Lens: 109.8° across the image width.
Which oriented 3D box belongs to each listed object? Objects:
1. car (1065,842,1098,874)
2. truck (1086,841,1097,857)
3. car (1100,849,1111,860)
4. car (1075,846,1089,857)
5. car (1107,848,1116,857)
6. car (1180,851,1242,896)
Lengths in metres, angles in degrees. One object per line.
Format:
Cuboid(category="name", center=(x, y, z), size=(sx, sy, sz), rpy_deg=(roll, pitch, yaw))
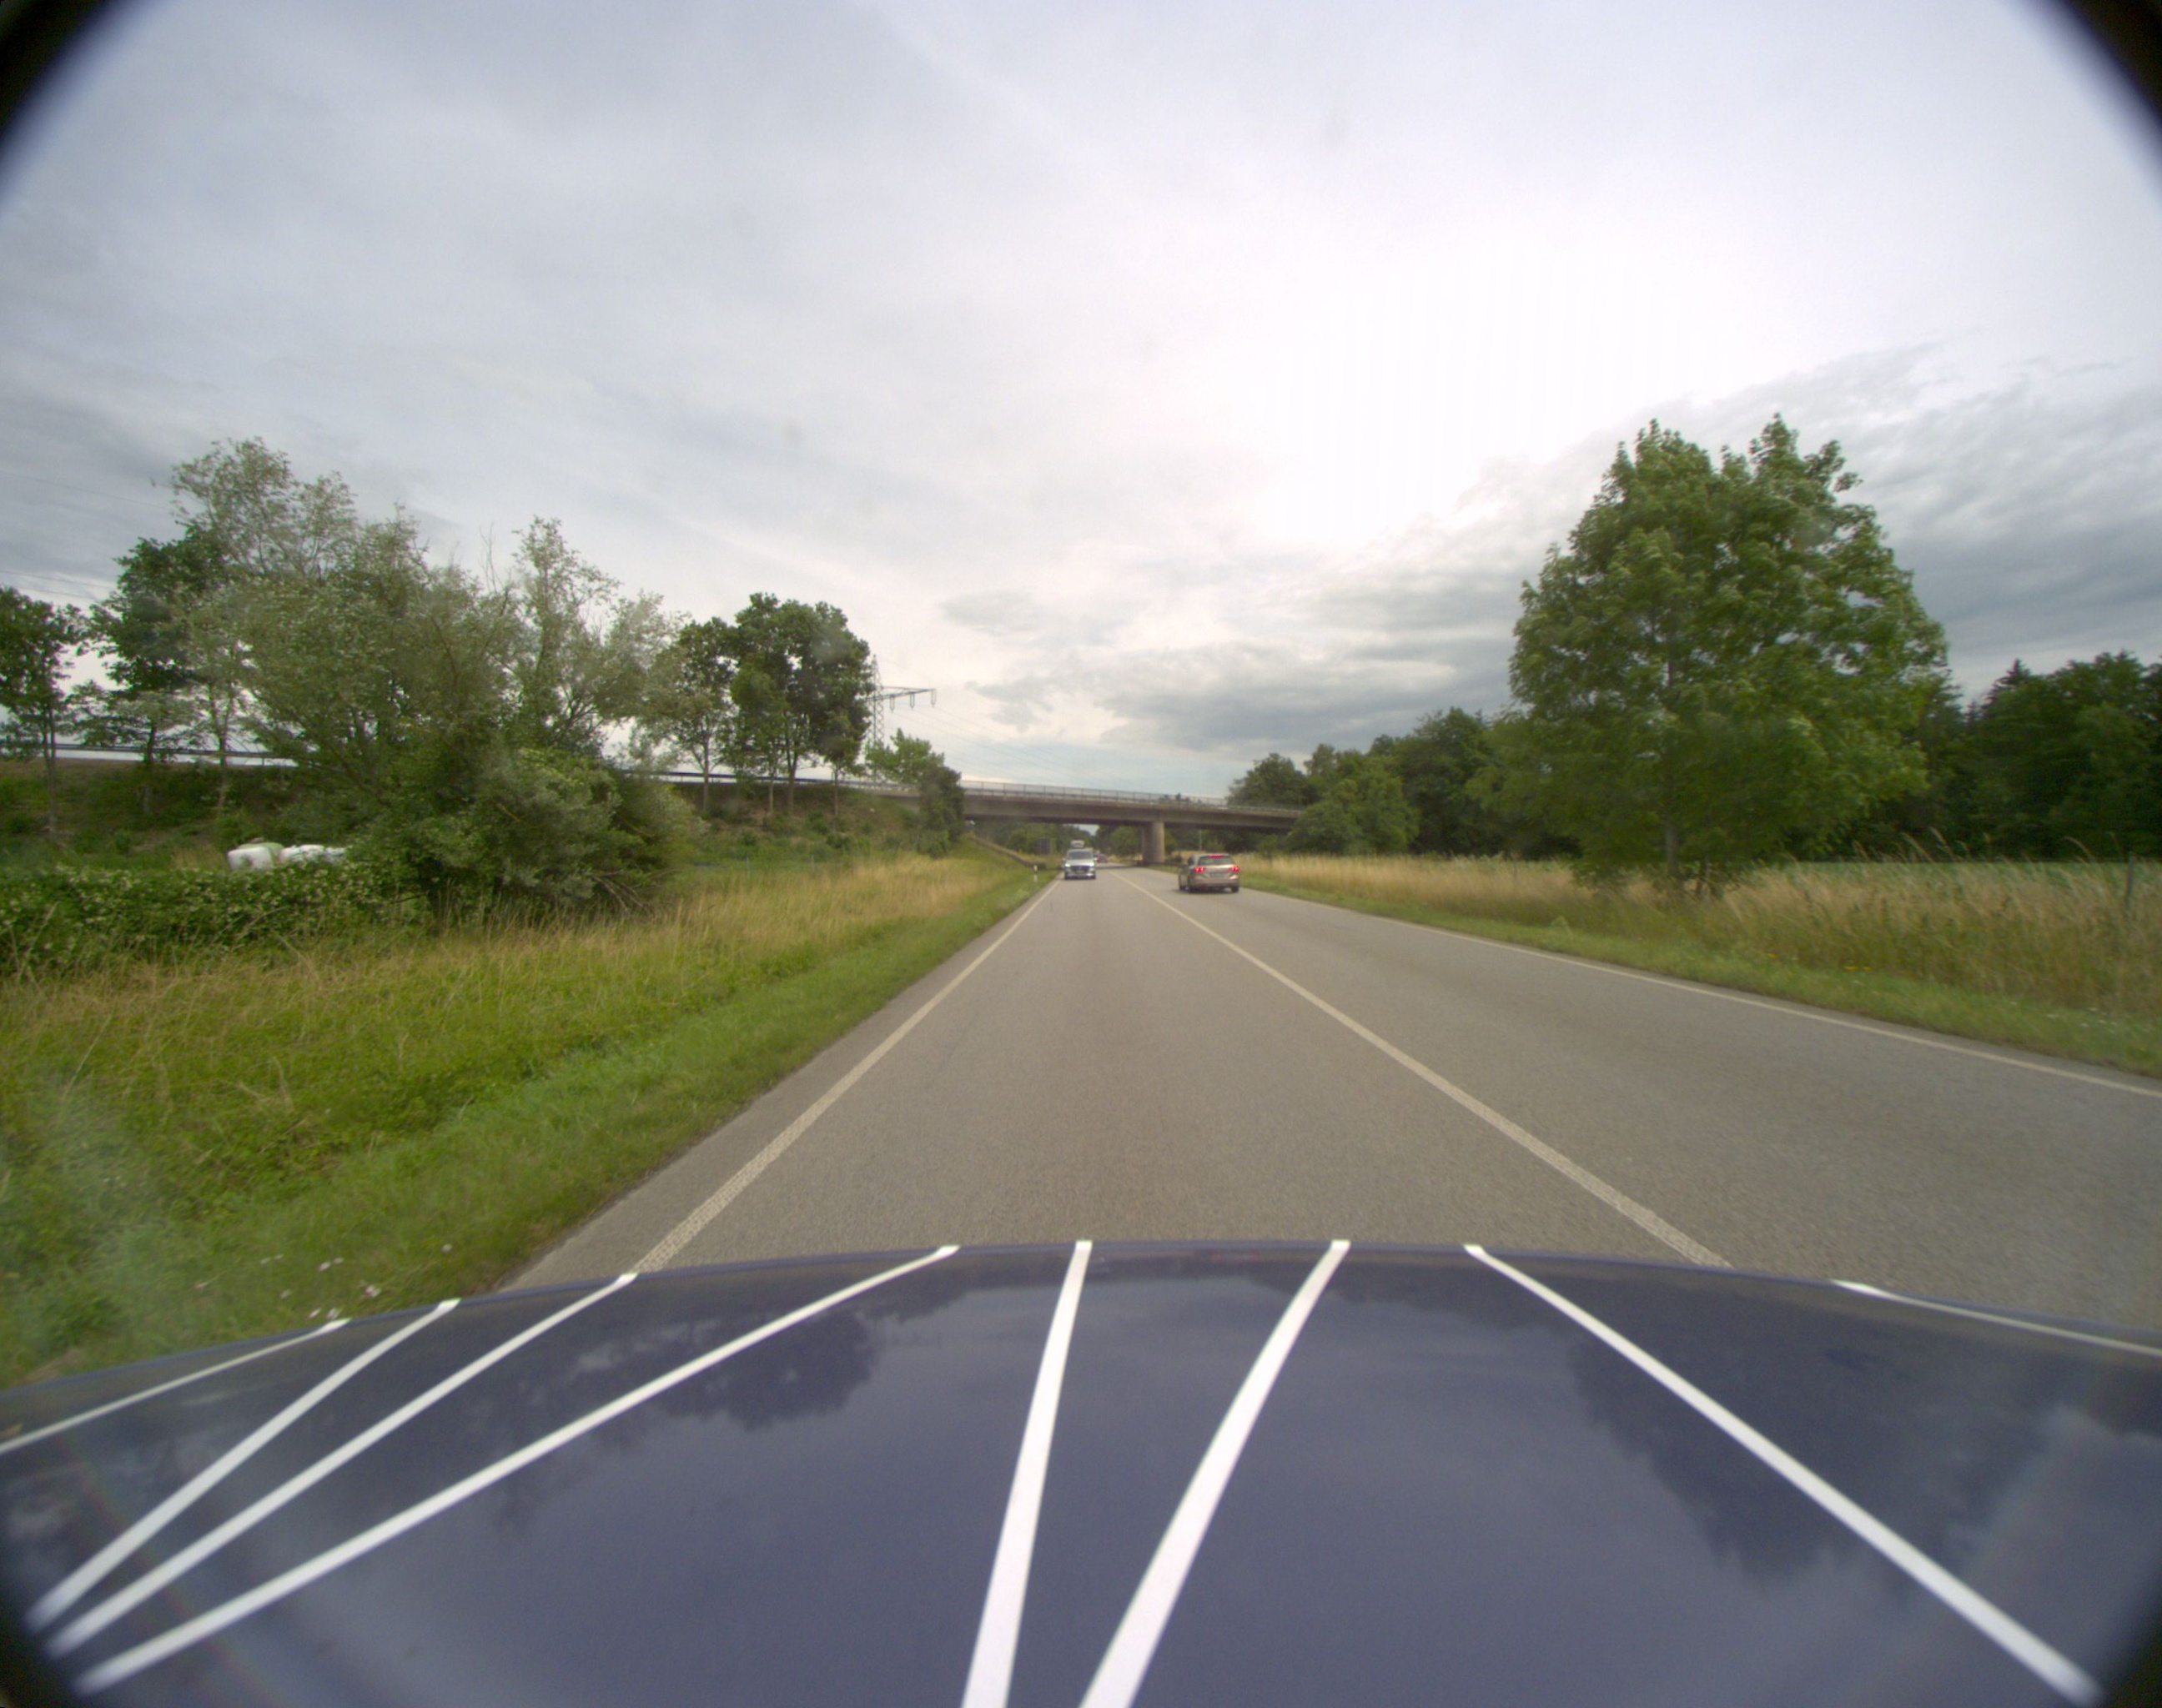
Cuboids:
Cuboid(category="car", center=(0.054, 0.222, 47.443), size=(1.923, 1.823, 3.999), rpy_deg=(-2, 1, 1))
Cuboid(category="truck", center=(3.564, -1.818, 253.929), size=(3.277, 5.094, 8.355), rpy_deg=(-2, 1, 1))
Cuboid(category="car", center=(4.218, 0.084, 132.239), size=(1.800, 1.653, 3.999), rpy_deg=(-2, 1, 1))
Cuboid(category="car", center=(0.276, -0.416, 147.487), size=(1.997, 2.002, 4.002), rpy_deg=(-2, 1, 10))
Cuboid(category="car", center=(6.420, -0.296, 158.785), size=(1.800, 1.653, 3.999), rpy_deg=(-2, 1, 1))
Cuboid(category="car", center=(4.806, 0.670, 28.535), size=(1.771, 1.455, 4.000), rpy_deg=(-2, 1, 3))
